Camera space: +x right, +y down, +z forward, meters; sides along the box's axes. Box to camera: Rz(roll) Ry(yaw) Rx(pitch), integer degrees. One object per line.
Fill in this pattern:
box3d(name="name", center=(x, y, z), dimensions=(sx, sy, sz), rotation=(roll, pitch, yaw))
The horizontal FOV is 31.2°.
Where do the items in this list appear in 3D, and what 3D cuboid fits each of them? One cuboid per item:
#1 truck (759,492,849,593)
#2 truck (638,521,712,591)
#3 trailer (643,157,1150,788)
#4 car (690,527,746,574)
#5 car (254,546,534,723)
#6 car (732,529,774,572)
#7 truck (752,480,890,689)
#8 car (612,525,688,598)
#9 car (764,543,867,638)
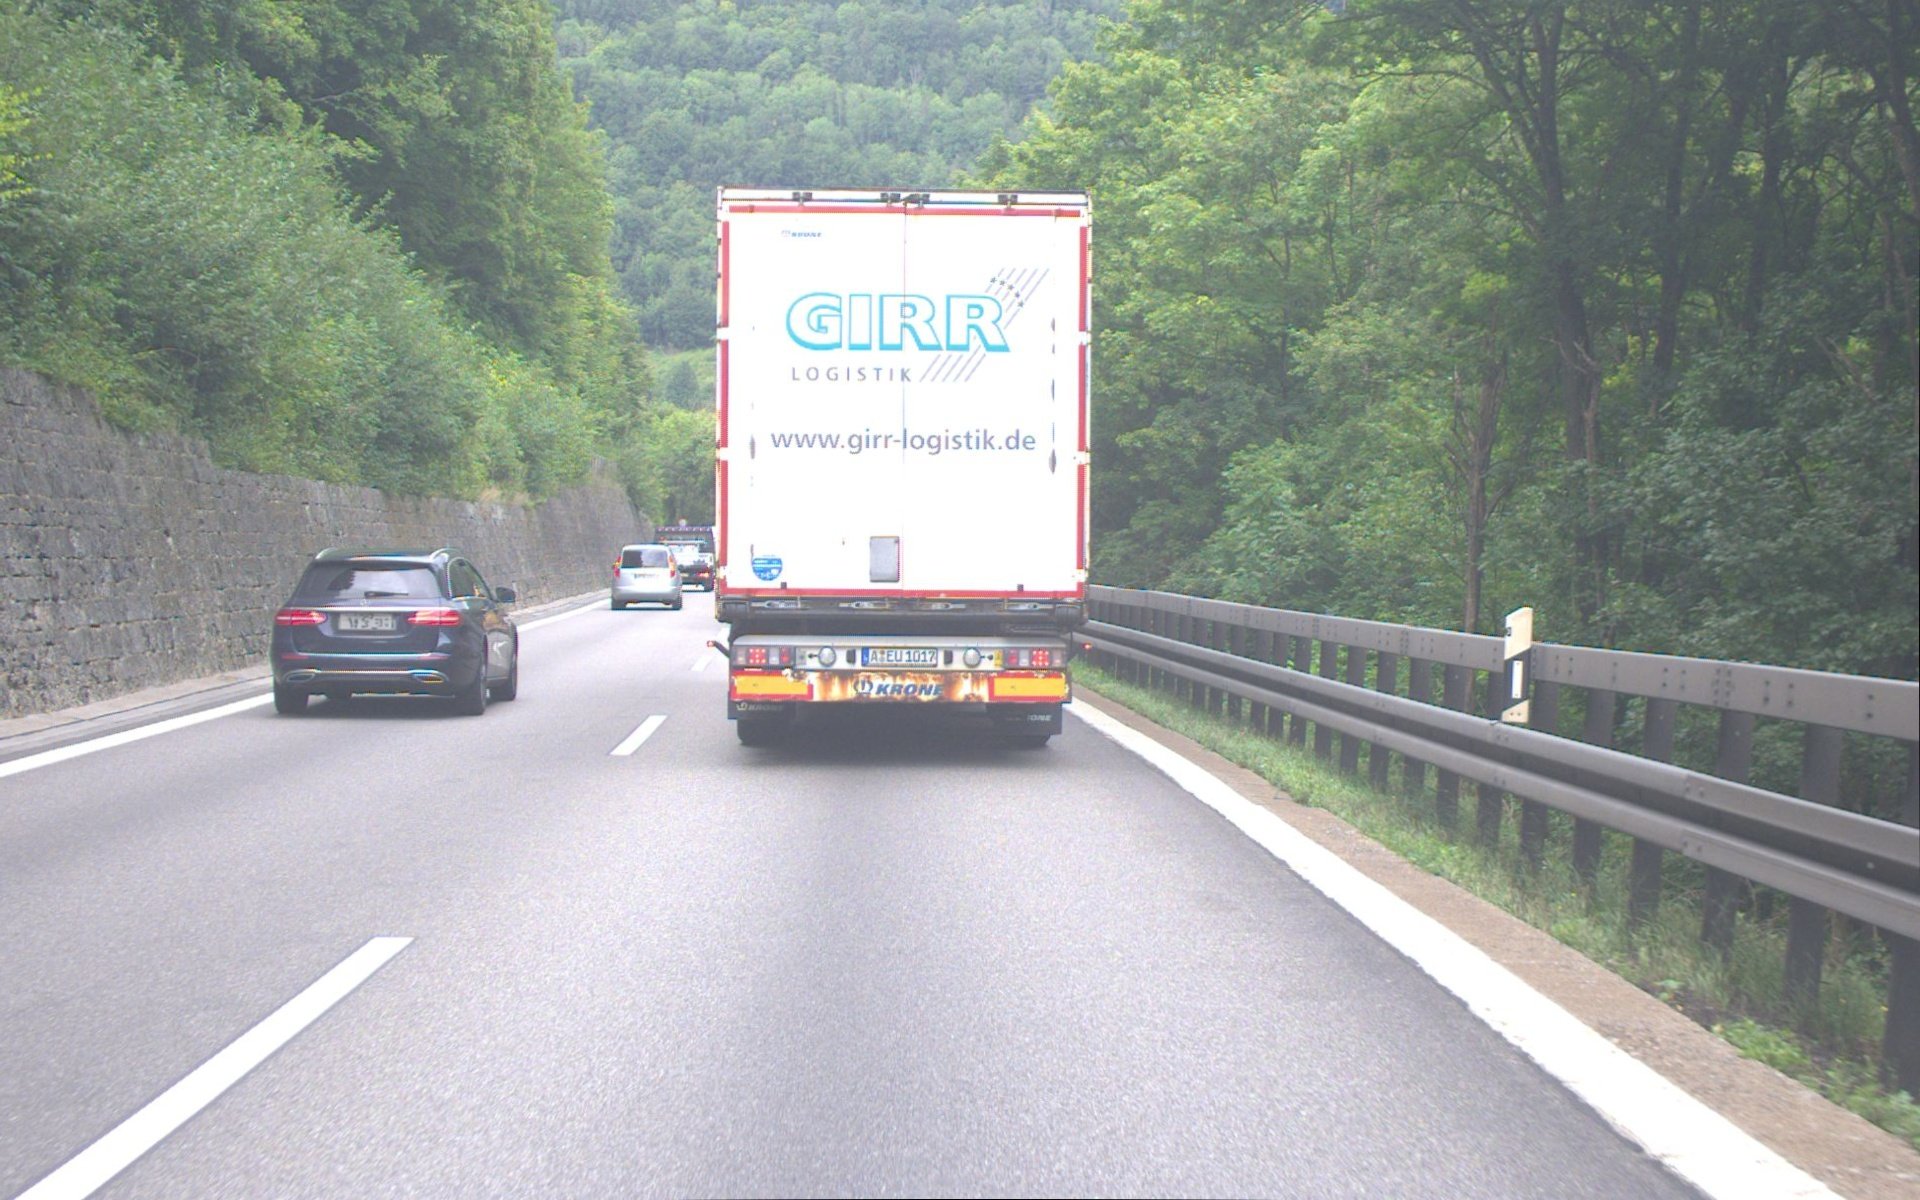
box3d(name="truck", center=(-6.434, -2.318, 140.709), dimensions=(3.068, 3.864, 8.460), rotation=(3, 0, -6))
box3d(name="truck", center=(-9.886, -1.543, 119.847), dimensions=(2.349, 2.266, 6.850), rotation=(3, 1, -4))
box3d(name="trailer", center=(-0.626, -0.952, 27.828), dimensions=(3.133, 4.029, 9.441), rotation=(4, 1, -3))
box3d(name="car", center=(-10.456, -2.134, 148.833), dimensions=(2.018, 1.908, 5.564), rotation=(3, 1, -1))
box3d(name="car", center=(-5.145, 0.257, 31.887), dimensions=(1.760, 1.458, 5.123), rotation=(1, 1, 0))
box3d(name="car", center=(-10.355, -2.449, 171.688), dimensions=(1.993, 2.007, 4.001), rotation=(3, 0, -4))
box3d(name="truck", center=(-2.797, -0.326, 67.511), dimensions=(2.233, 3.791, 6.824), rotation=(3, 0, -5))
box3d(name="car", center=(-7.695, -0.956, 85.577), dimensions=(1.634, 1.720, 4.345), rotation=(2, 1, -3))
box3d(name="car", center=(-3.322, -0.239, 78.279), dimensions=(1.993, 2.007, 4.334), rotation=(3, 0, -6))
